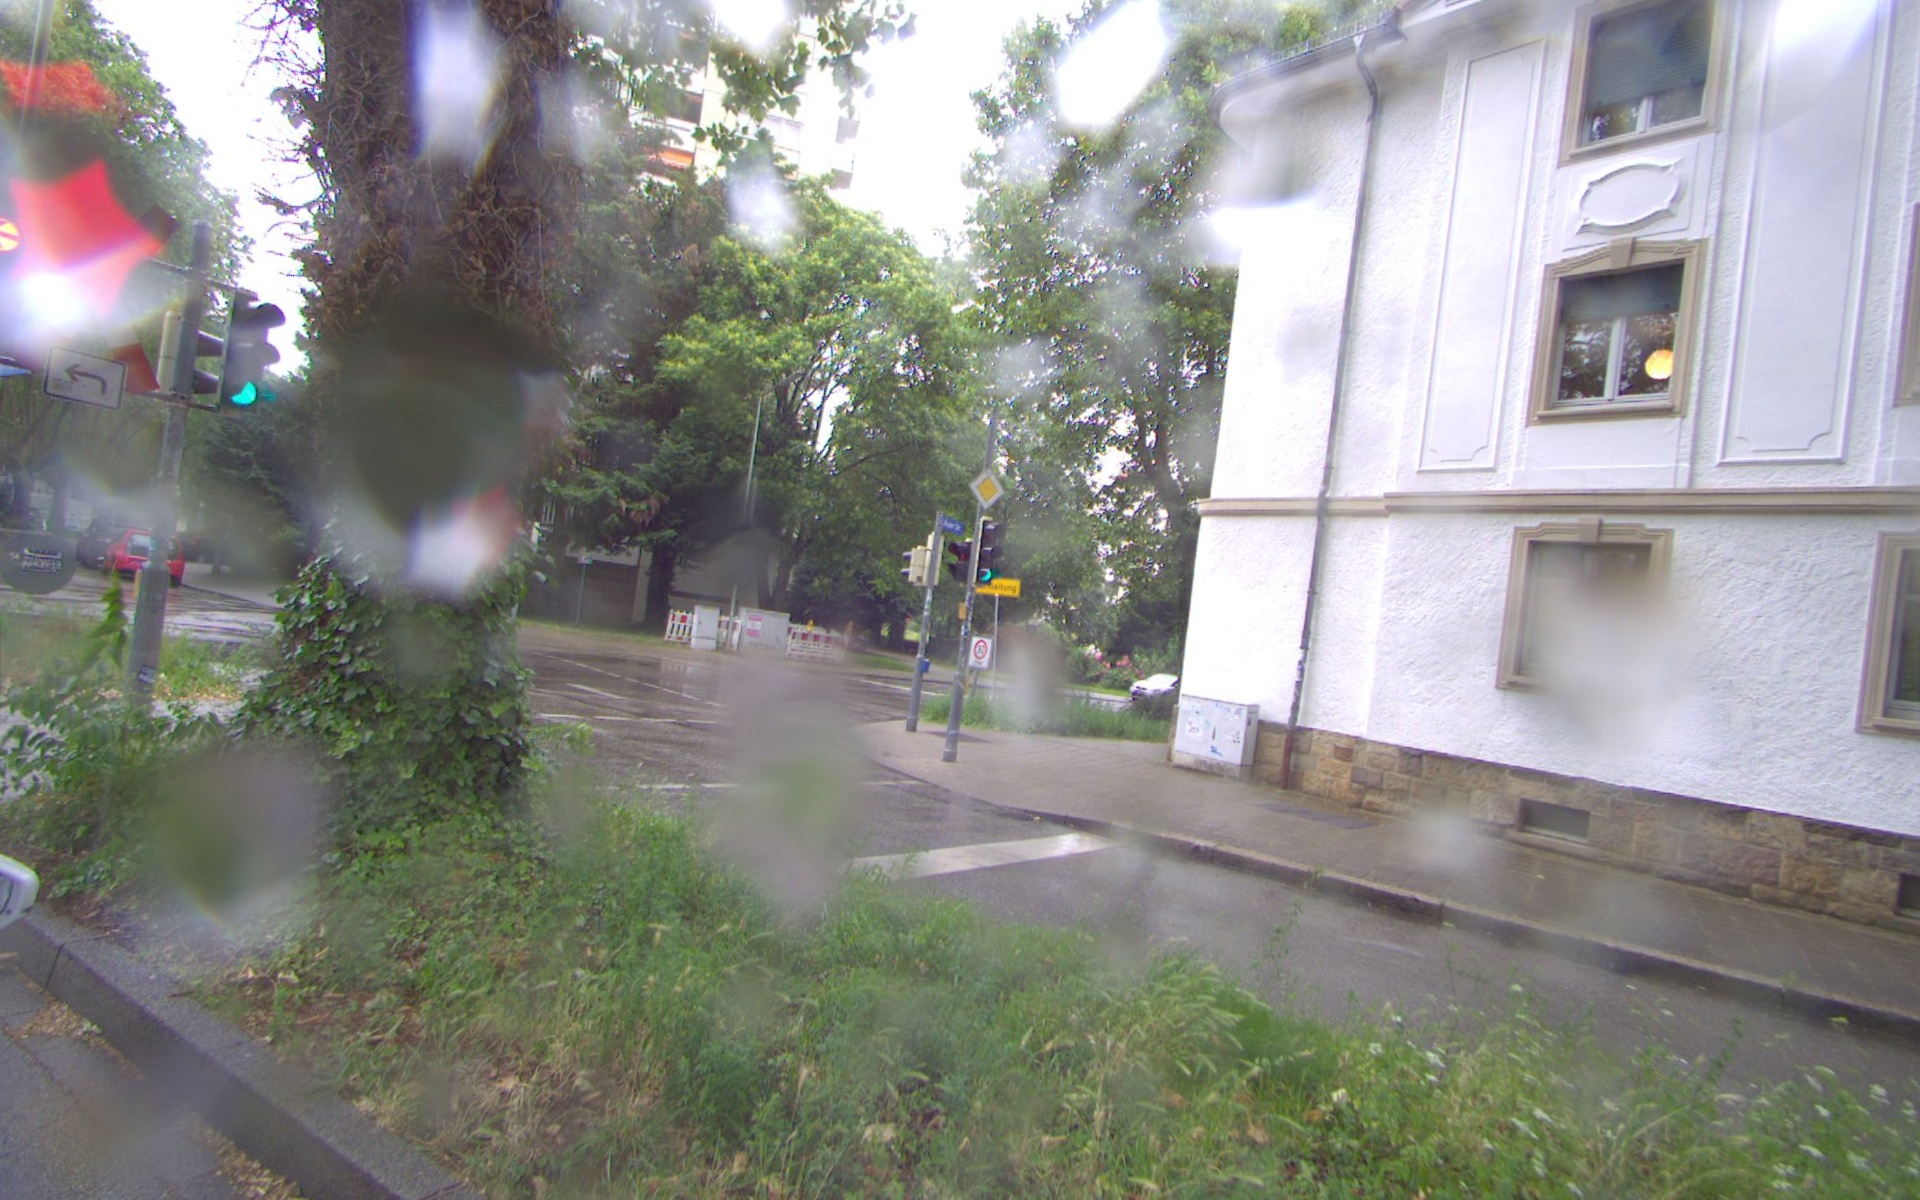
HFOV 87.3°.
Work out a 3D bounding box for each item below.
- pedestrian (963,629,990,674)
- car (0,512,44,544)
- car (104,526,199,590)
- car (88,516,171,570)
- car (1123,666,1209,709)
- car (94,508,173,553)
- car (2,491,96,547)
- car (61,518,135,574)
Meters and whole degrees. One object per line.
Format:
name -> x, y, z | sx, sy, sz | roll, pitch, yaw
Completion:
pedestrian -> 0.713, 2.246, 43.865 | 0.675, 1.863, 0.707 | 8, -1, -44
car -> -56.207, -4.387, 58.634 | 1.974, 1.565, 3.980 | 6, -3, 44
car -> -24.834, -1.313, 30.849 | 1.788, 1.515, 3.950 | 10, -2, -44
car -> -28.100, -1.942, 34.006 | 1.780, 1.363, 3.879 | 10, -2, -44
car -> 9.407, 4.004, 45.813 | 1.829, 1.473, 3.979 | 6, -3, 45
car -> -69.652, -5.853, 84.819 | 4.683, 2.982, 2.001 | 7, -1, 1
car -> -61.114, -5.402, 67.538 | 4.680, 2.982, 2.043 | 7, -1, 12
car -> -32.986, -2.084, 38.461 | 1.779, 1.747, 3.951 | 9, -2, -44
